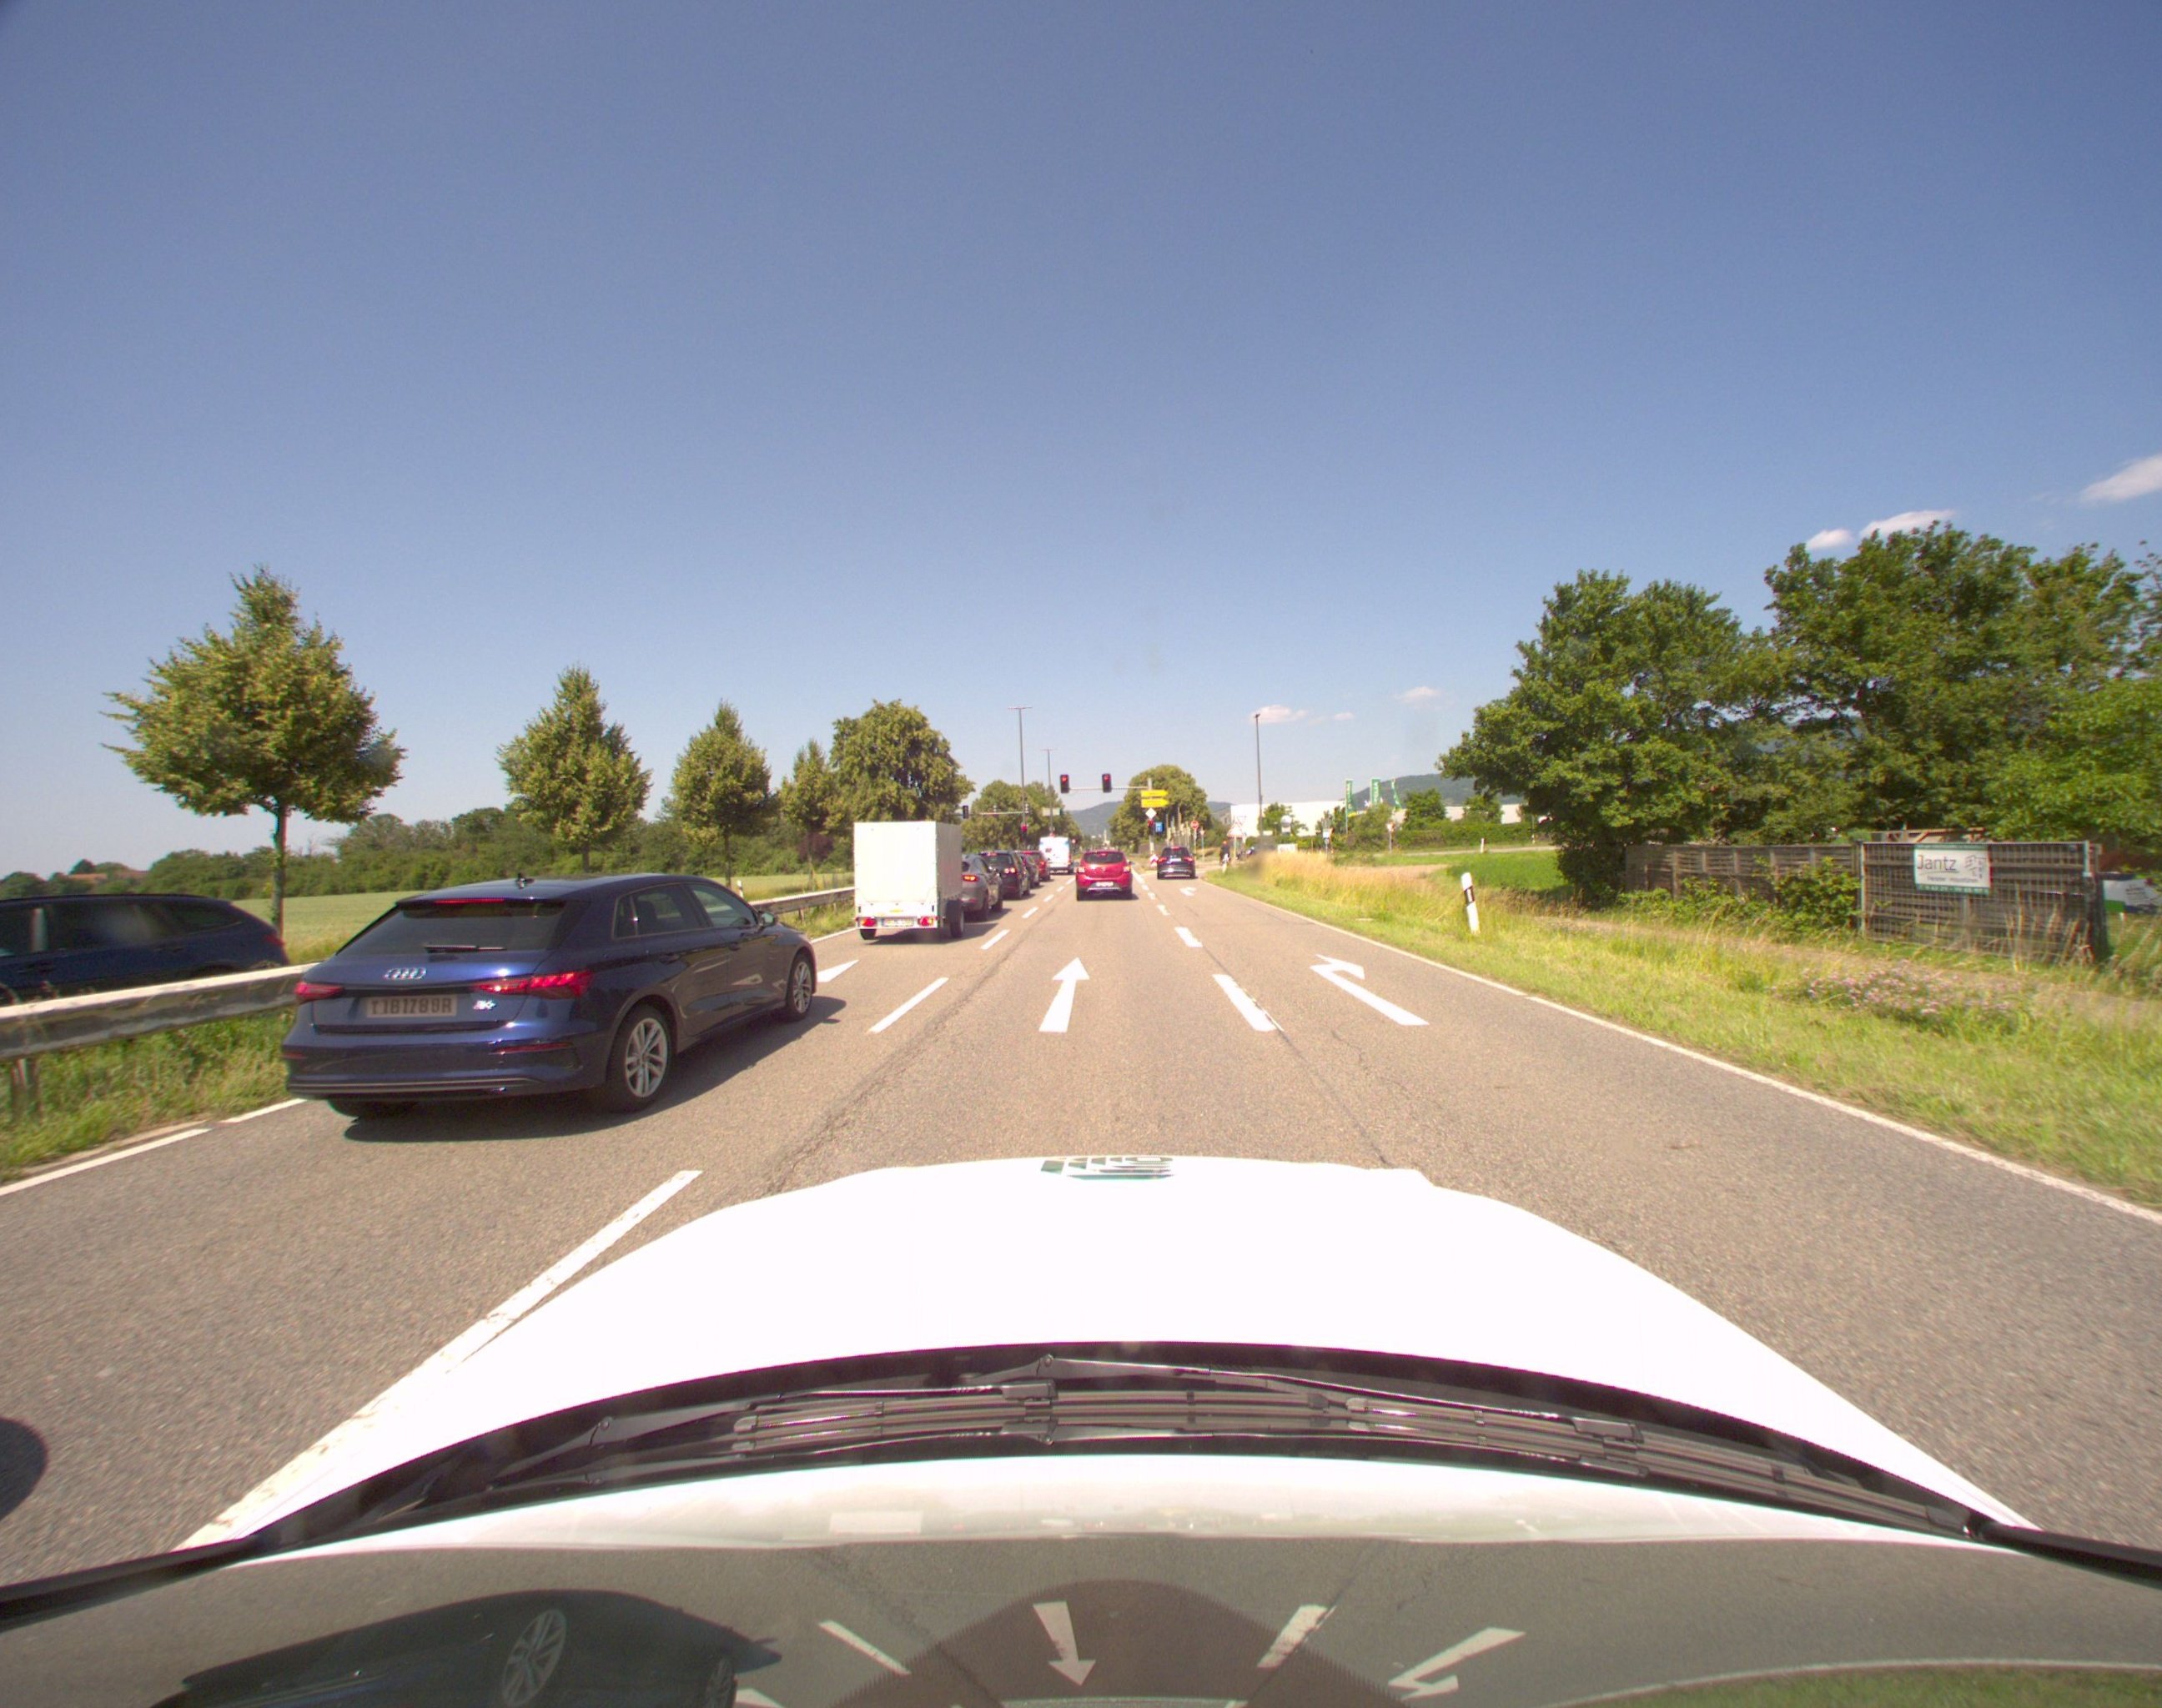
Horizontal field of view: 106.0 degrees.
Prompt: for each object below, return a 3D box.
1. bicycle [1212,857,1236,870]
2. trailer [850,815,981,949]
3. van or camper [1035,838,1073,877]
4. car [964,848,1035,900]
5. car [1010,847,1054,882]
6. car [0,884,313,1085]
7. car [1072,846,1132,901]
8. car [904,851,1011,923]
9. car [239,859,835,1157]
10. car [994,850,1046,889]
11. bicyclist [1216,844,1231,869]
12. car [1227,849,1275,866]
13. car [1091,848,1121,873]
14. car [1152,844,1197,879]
[{"bbox_3d":[10.645,0.726,60.720,0.761,0.915,2.769,-2,0,-10],"label":"bicycle"},{"bbox_3d":[-2.986,0.449,15.517,1.495,2.173,4.176,-1,0,2],"label":"trailer"},{"bbox_3d":[-1.630,0.212,51.086,2.172,2.302,4.825,-1,0,0],"label":"van or camper"},{"bbox_3d":[-2.597,0.598,26.789,1.716,1.575,3.895,-1,0,3],"label":"car"},{"bbox_3d":[-2.387,0.488,40.726,1.717,1.600,3.958,-2,0,2],"label":"car"},{"bbox_3d":[-9.312,1.096,6.552,1.872,1.454,4.506,-2,0,1],"label":"car"},{"bbox_3d":[0.743,0.563,25.903,1.742,1.575,3.680,-1,0,3],"label":"car"},{"bbox_3d":[-2.818,0.693,19.450,1.739,1.503,4.364,-1,0,2],"label":"car"},{"bbox_3d":[-3.422,0.809,6.216,1.710,1.465,4.032,-1,0,2],"label":"car"},{"bbox_3d":[-2.503,0.608,34.051,1.695,1.442,3.958,0,1,2],"label":"car"},{"bbox_3d":[10.609,0.194,60.629,0.802,1.771,0.806,-2,0,-11],"label":"bicyclist"},{"bbox_3d":[14.965,0.317,71.855,3.964,1.327,1.811,-2,0,8],"label":"car"},{"bbox_3d":[1.592,0.395,51.205,1.742,1.458,3.680,-1,0,4],"label":"car"},{"bbox_3d":[4.648,0.341,41.106,1.985,1.616,4.344,-1,0,3],"label":"car"}]
